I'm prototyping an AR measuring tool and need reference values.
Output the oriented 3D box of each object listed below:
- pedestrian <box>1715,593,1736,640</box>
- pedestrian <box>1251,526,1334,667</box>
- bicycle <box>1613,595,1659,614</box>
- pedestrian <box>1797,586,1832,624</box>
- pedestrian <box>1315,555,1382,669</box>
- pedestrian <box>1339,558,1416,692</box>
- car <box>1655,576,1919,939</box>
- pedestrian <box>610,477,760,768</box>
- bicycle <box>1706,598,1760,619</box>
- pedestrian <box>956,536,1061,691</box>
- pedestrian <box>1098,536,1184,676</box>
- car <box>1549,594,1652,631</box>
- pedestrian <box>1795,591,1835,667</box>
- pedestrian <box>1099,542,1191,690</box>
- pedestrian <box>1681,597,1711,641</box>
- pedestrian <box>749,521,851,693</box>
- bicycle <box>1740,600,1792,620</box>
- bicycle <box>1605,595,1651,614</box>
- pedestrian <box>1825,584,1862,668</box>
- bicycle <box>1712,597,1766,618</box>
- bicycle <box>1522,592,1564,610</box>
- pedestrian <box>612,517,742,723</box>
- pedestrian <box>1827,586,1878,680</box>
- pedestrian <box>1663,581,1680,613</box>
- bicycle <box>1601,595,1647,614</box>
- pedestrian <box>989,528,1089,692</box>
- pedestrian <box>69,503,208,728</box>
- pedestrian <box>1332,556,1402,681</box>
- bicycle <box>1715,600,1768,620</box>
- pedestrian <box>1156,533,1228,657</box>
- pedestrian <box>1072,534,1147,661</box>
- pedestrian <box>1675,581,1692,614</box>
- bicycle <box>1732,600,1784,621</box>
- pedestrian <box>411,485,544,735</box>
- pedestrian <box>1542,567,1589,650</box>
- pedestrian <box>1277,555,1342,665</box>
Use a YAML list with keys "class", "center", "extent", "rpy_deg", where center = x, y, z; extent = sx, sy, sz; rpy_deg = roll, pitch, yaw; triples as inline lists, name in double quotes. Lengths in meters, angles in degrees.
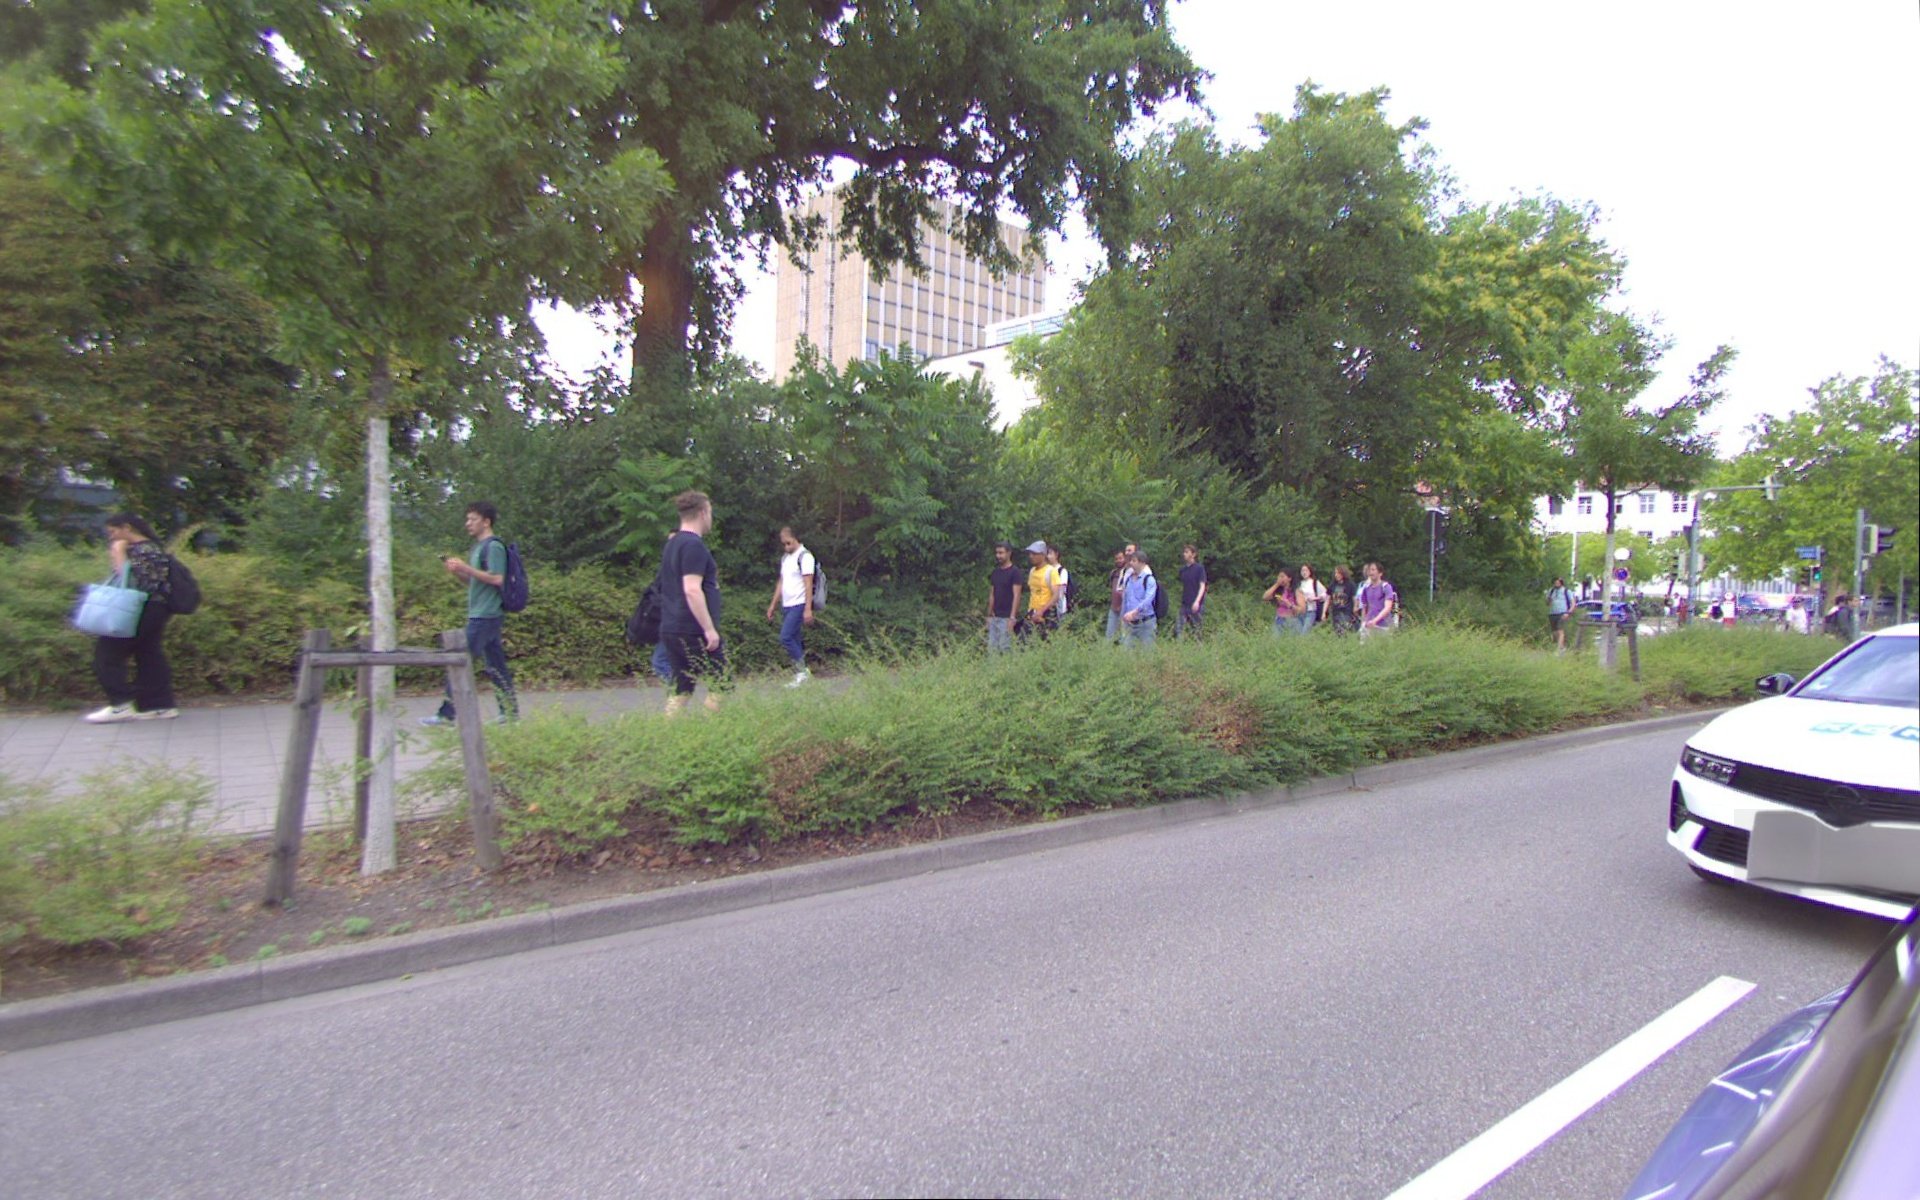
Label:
- class: "pedestrian"
  center: [30.847, 0.648, 40.794]
  extent: [0.643, 1.875, 0.818]
  rpy_deg: [1, 0, 38]
- class: "pedestrian"
  center: [4.324, -0.053, 13.173]
  extent: [0.766, 1.767, 0.658]
  rpy_deg: [1, 1, -39]
- class: "bicycle"
  center: [46.118, 0.310, 69.046]
  extent: [0.705, 1.156, 2.472]
  rpy_deg: [1, 1, -39]
- class: "pedestrian"
  center: [38.512, 0.217, 45.621]
  extent: [0.687, 1.730, 0.957]
  rpy_deg: [1, 0, -22]
- class: "pedestrian"
  center: [6.228, 0.176, 16.214]
  extent: [0.766, 1.767, 0.658]
  rpy_deg: [1, 1, -39]
- class: "pedestrian"
  center: [5.707, 0.320, 13.838]
  extent: [0.766, 1.767, 0.626]
  rpy_deg: [1, 1, -39]
- class: "car"
  center: [5.913, 0.673, 5.310]
  extent: [4.685, 1.456, 1.748]
  rpy_deg: [1, 1, -28]
- class: "pedestrian"
  center: [-1.860, 0.140, 6.984]
  extent: [0.868, 1.853, 0.939]
  rpy_deg: [2, 1, -10]
- class: "bicycle"
  center: [46.608, 0.486, 61.065]
  extent: [0.705, 1.156, 2.472]
  rpy_deg: [1, 1, -39]
- class: "pedestrian"
  center: [0.553, 0.137, 11.540]
  extent: [0.954, 1.687, 0.658]
  rpy_deg: [1, 1, -39]
- class: "pedestrian"
  center: [2.423, 0.073, 13.522]
  extent: [0.940, 1.789, 0.658]
  rpy_deg: [1, 0, -39]
- class: "car"
  center: [28.921, 0.529, 45.753]
  extent: [1.645, 1.510, 3.578]
  rpy_deg: [0, 2, -40]
- class: "pedestrian"
  center: [19.616, 0.652, 23.224]
  extent: [0.625, 1.708, 0.547]
  rpy_deg: [1, 1, -40]
- class: "pedestrian"
  center: [2.183, 0.168, 11.944]
  extent: [0.797, 1.668, 0.658]
  rpy_deg: [1, 1, -39]
- class: "pedestrian"
  center: [30.743, 0.778, 42.266]
  extent: [0.875, 1.827, 0.769]
  rpy_deg: [1, 0, -36]
- class: "pedestrian"
  center: [-1.729, 0.062, 10.917]
  extent: [0.797, 1.766, 0.723]
  rpy_deg: [1, 1, -37]
- class: "bicycle"
  center: [50.764, 0.633, 63.780]
  extent: [0.705, 1.156, 2.472]
  rpy_deg: [1, 1, -39]
- class: "bicycle"
  center: [44.882, 0.308, 68.021]
  extent: [0.705, 1.156, 2.472]
  rpy_deg: [1, 1, -39]
- class: "pedestrian"
  center: [19.036, 0.550, 21.805]
  extent: [0.625, 1.756, 0.455]
  rpy_deg: [1, 1, -40]
- class: "bicycle"
  center: [47.644, 0.446, 61.915]
  extent: [0.705, 1.156, 2.472]
  rpy_deg: [1, 1, -39]
- class: "bicycle"
  center: [41.350, 0.079, 71.825]
  extent: [0.705, 1.156, 2.472]
  rpy_deg: [1, 1, -39]
- class: "pedestrian"
  center: [-2.387, 0.146, 8.512]
  extent: [0.797, 1.622, 0.778]
  rpy_deg: [1, 1, -37]
- class: "pedestrian"
  center: [17.238, 0.619, 19.538]
  extent: [0.643, 1.756, 0.603]
  rpy_deg: [1, 1, -40]
- class: "pedestrian"
  center: [44.368, -0.170, 63.122]
  extent: [0.675, 1.988, 0.601]
  rpy_deg: [1, 0, 10]
- class: "bicycle"
  center: [44.283, 0.308, 67.517]
  extent: [0.705, 1.156, 2.472]
  rpy_deg: [1, 1, -39]
- class: "pedestrian"
  center: [0.863, 0.093, 11.097]
  extent: [0.827, 1.710, 0.658]
  rpy_deg: [1, 1, -39]
- class: "pedestrian"
  center: [-6.203, 0.100, 7.681]
  extent: [0.771, 1.603, 0.637]
  rpy_deg: [1, 1, -37]
- class: "pedestrian"
  center: [5.954, 0.256, 14.803]
  extent: [0.775, 1.767, 0.582]
  rpy_deg: [1, 1, -39]
- class: "bicycle"
  center: [48.678, 0.630, 63.063]
  extent: [0.705, 1.156, 2.472]
  rpy_deg: [1, 1, -39]
- class: "pedestrian"
  center: [3.421, -0.079, 14.918]
  extent: [0.766, 1.767, 0.658]
  rpy_deg: [1, 1, -39]
- class: "pedestrian"
  center: [2.093, -0.042, 14.167]
  extent: [0.766, 1.720, 0.658]
  rpy_deg: [1, 1, -39]
- class: "pedestrian"
  center: [45.192, -0.160, 63.230]
  extent: [0.675, 1.988, 0.601]
  rpy_deg: [1, 0, 10]
- class: "bicycle"
  center: [49.744, 0.650, 63.114]
  extent: [0.705, 1.156, 2.472]
  rpy_deg: [1, 1, -39]
- class: "pedestrian"
  center: [-3.800, 0.064, 7.969]
  extent: [0.797, 1.844, 0.658]
  rpy_deg: [1, 1, -37]
- class: "pedestrian"
  center: [13.641, 0.198, 22.794]
  extent: [0.727, 1.818, 0.646]
  rpy_deg: [3, 0, -40]
- class: "pedestrian"
  center: [5.781, 0.150, 16.740]
  extent: [0.766, 1.767, 0.658]
  rpy_deg: [1, 1, -39]
